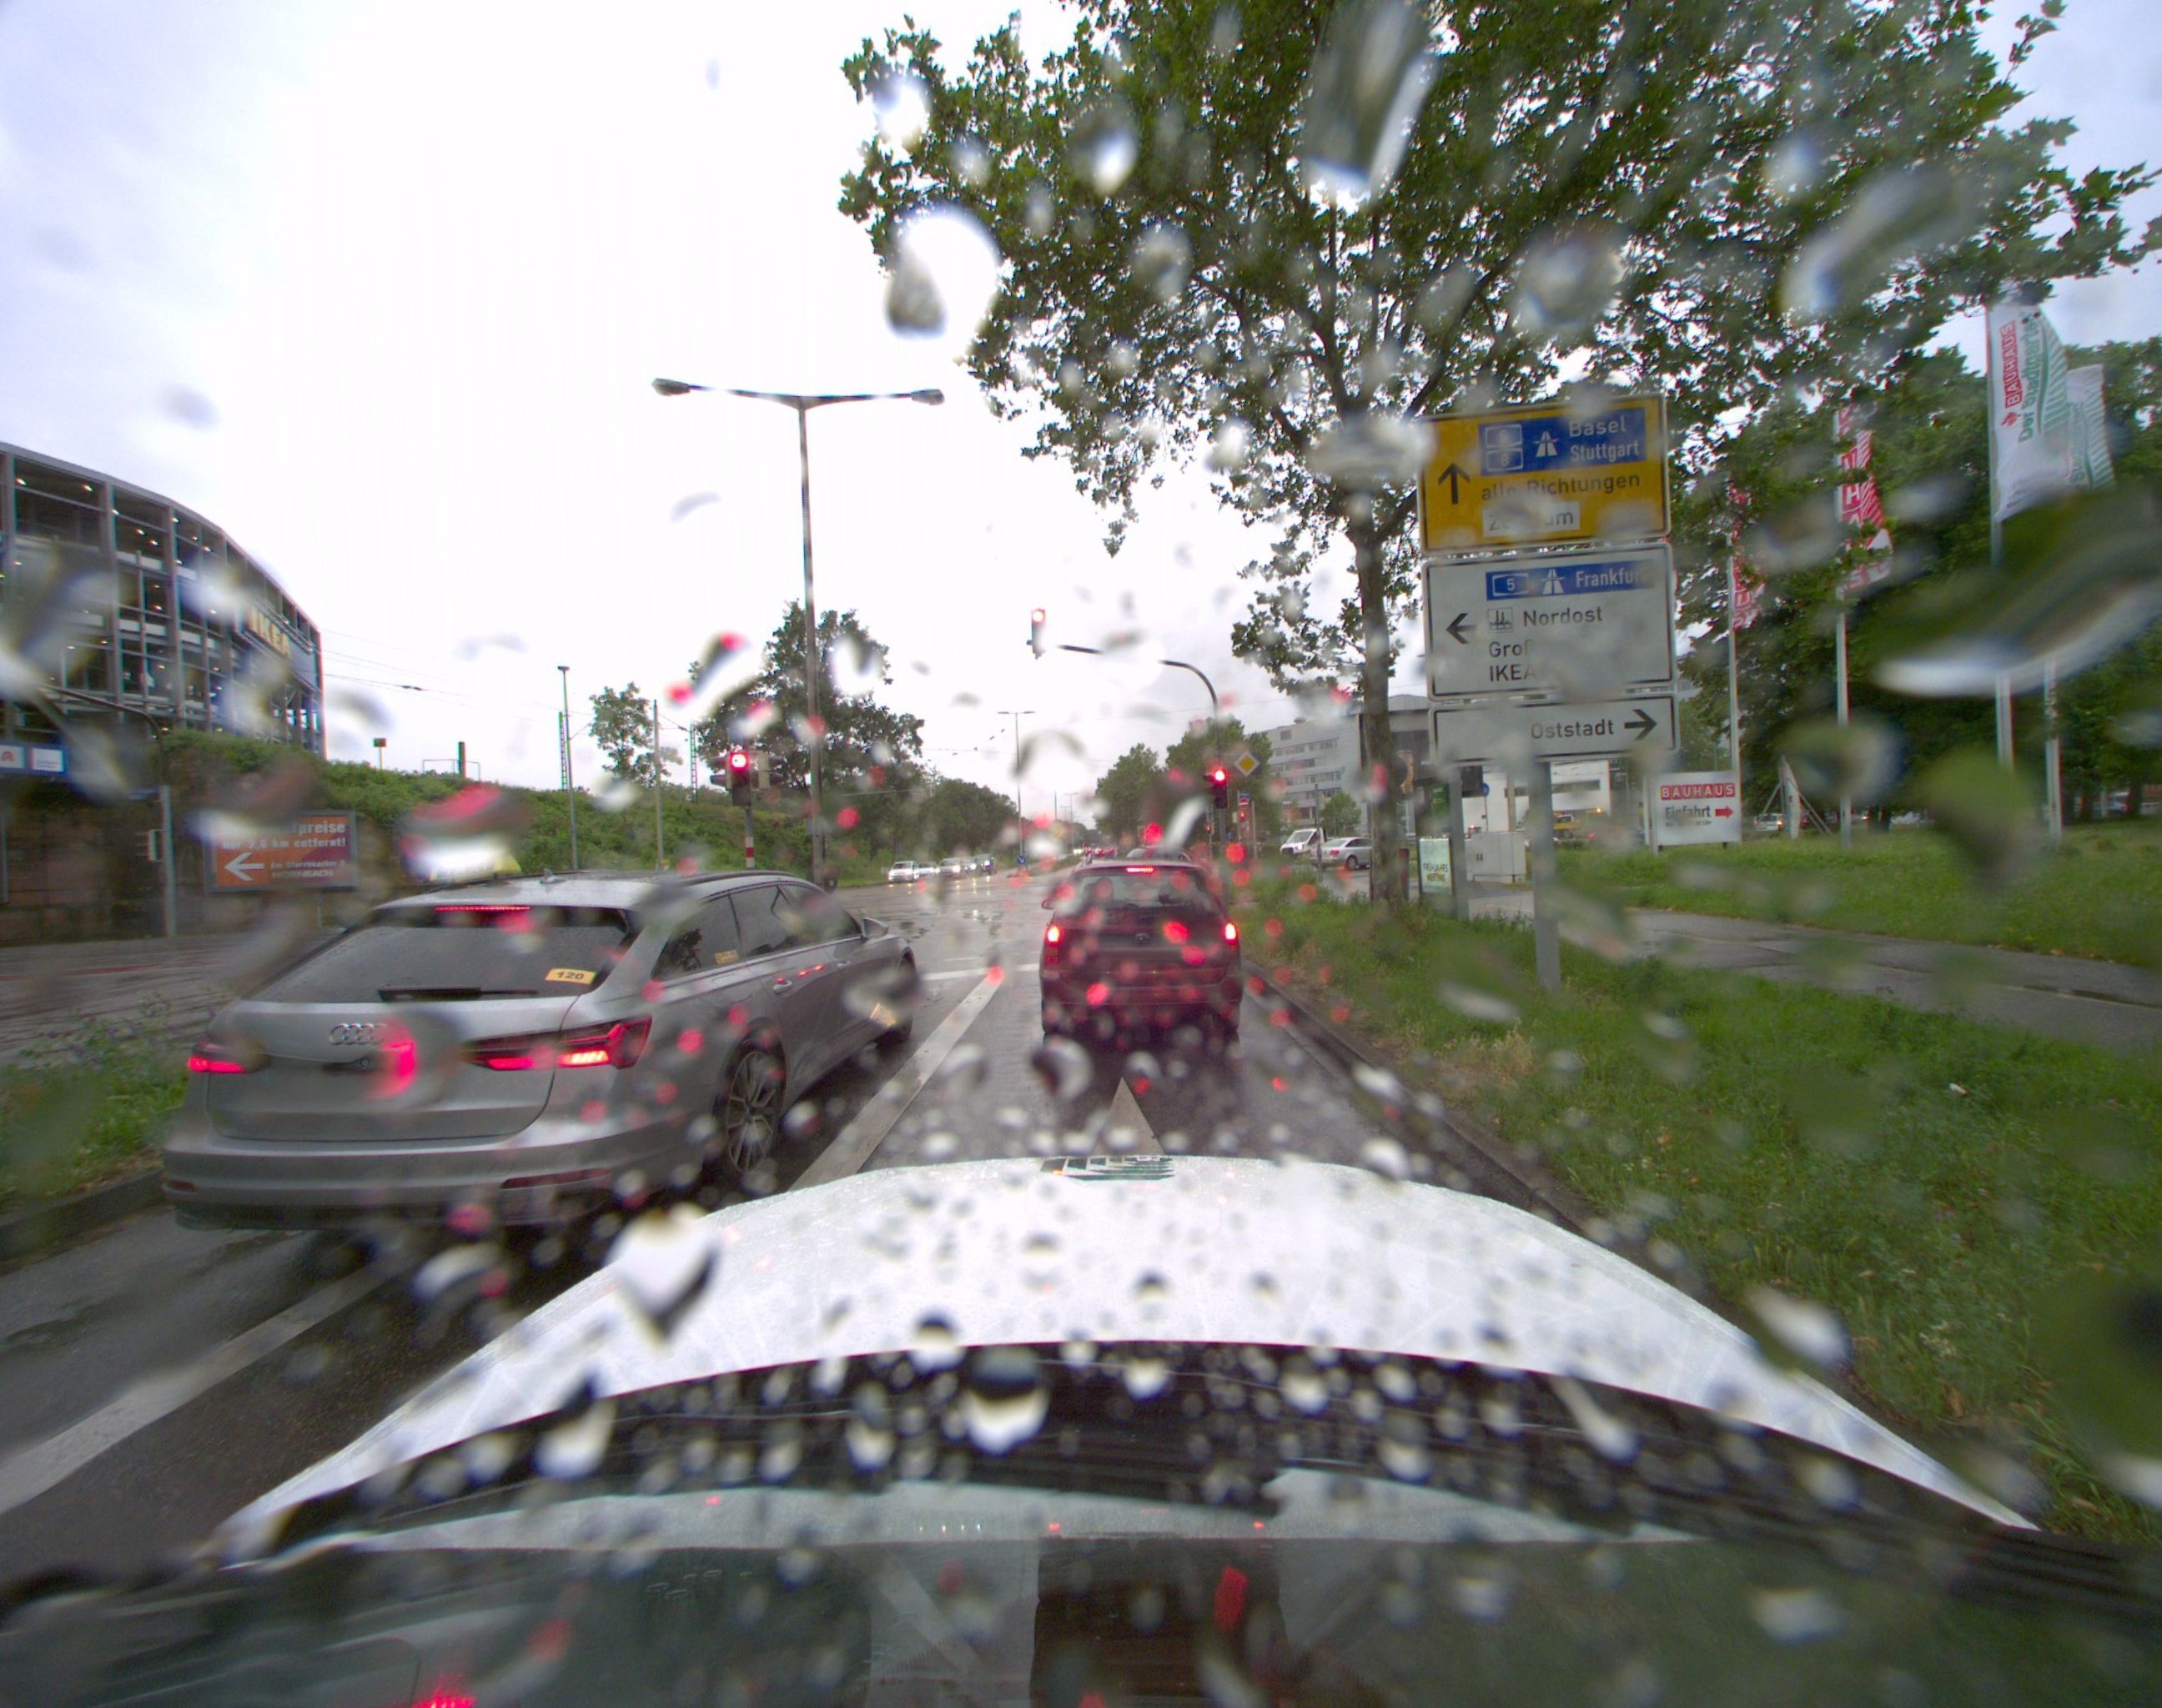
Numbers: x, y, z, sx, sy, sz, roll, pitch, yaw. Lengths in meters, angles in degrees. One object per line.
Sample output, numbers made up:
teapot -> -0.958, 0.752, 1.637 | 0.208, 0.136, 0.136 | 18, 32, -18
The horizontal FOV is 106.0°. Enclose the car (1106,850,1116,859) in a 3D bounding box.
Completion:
car -> 5.621, 0.149, 151.050 | 1.664, 1.528, 3.849 | -3, 0, 3

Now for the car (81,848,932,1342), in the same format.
car -> -2.287, 0.761, 5.029 | 1.763, 1.574, 4.822 | 0, 0, 1

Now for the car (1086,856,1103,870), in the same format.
car -> 1.705, 1.122, 105.004 | 1.988, 1.790, 3.997 | 0, -1, -2

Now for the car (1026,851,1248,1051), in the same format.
car -> 0.448, 0.714, 7.917 | 1.636, 1.465, 3.733 | 0, 0, 1

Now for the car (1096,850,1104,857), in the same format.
car -> 4.633, -0.060, 193.614 | 1.691, 1.528, 3.849 | -3, 0, 3

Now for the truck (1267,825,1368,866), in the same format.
truck -> 15.275, -0.565, 52.446 | 6.898, 2.365, 2.455 | -3, 0, -36

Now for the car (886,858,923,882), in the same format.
car -> -11.979, 1.059, 55.557 | 1.633, 1.452, 3.786 | -3, 0, 0

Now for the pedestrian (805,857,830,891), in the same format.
pedestrian -> -14.953, 1.102, 46.210 | 1.102, 1.847, 1.126 | -3, 0, -10

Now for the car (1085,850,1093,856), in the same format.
car -> 2.080, -0.230, 202.336 | 1.691, 1.528, 3.849 | -3, 0, 3

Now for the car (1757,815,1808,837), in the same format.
car -> 55.982, -2.263, 64.947 | 4.645, 1.586, 1.907 | -2, -1, -34

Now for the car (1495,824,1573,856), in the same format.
car -> 25.663, -0.795, 46.060 | 4.644, 1.586, 1.907 | -2, -1, -34

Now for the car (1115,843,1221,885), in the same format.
car -> 3.364, 0.359, 31.417 | 3.829, 1.491, 1.662 | -2, 0, -31

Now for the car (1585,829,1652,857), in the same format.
car -> 33.769, -0.713, 51.147 | 4.645, 1.586, 1.906 | -2, -1, -35

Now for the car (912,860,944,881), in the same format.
car -> -11.577, 1.218, 61.878 | 1.585, 1.404, 3.823 | -3, 0, 1

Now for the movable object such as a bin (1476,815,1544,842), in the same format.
movable object such as a bin -> 53.769, -3.172, 102.172 | 3.342, 2.995, 6.650 | -3, 0, -34

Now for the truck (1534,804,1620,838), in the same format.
truck -> 57.968, -3.823, 95.390 | 3.342, 3.507, 7.806 | -3, 0, -33

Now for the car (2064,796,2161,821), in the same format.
car -> 88.537, -3.894, 69.318 | 2.286, 1.731, 5.899 | -3, 0, -33

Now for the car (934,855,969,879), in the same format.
car -> -8.949, 0.869, 56.531 | 1.632, 1.473, 3.966 | -3, 0, 1

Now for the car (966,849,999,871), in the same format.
car -> -8.623, 0.492, 71.777 | 2.058, 1.819, 5.542 | -3, 0, 1

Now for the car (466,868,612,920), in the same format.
car -> -19.669, 1.403, 29.703 | 4.264, 1.559, 1.728 | -3, 0, -35

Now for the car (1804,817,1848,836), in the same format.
car -> 67.858, -2.485, 74.175 | 4.645, 1.586, 1.907 | -2, -1, -34

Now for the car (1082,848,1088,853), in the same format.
car -> 1.162, -1.006, 245.170 | 1.691, 1.528, 3.849 | -3, 0, 3

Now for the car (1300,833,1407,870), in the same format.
car -> 12.399, -0.118, 37.002 | 4.846, 1.491, 1.908 | -2, 0, -31

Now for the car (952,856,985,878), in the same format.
car -> -8.736, 0.989, 63.663 | 1.756, 1.586, 4.813 | -3, -1, 0
